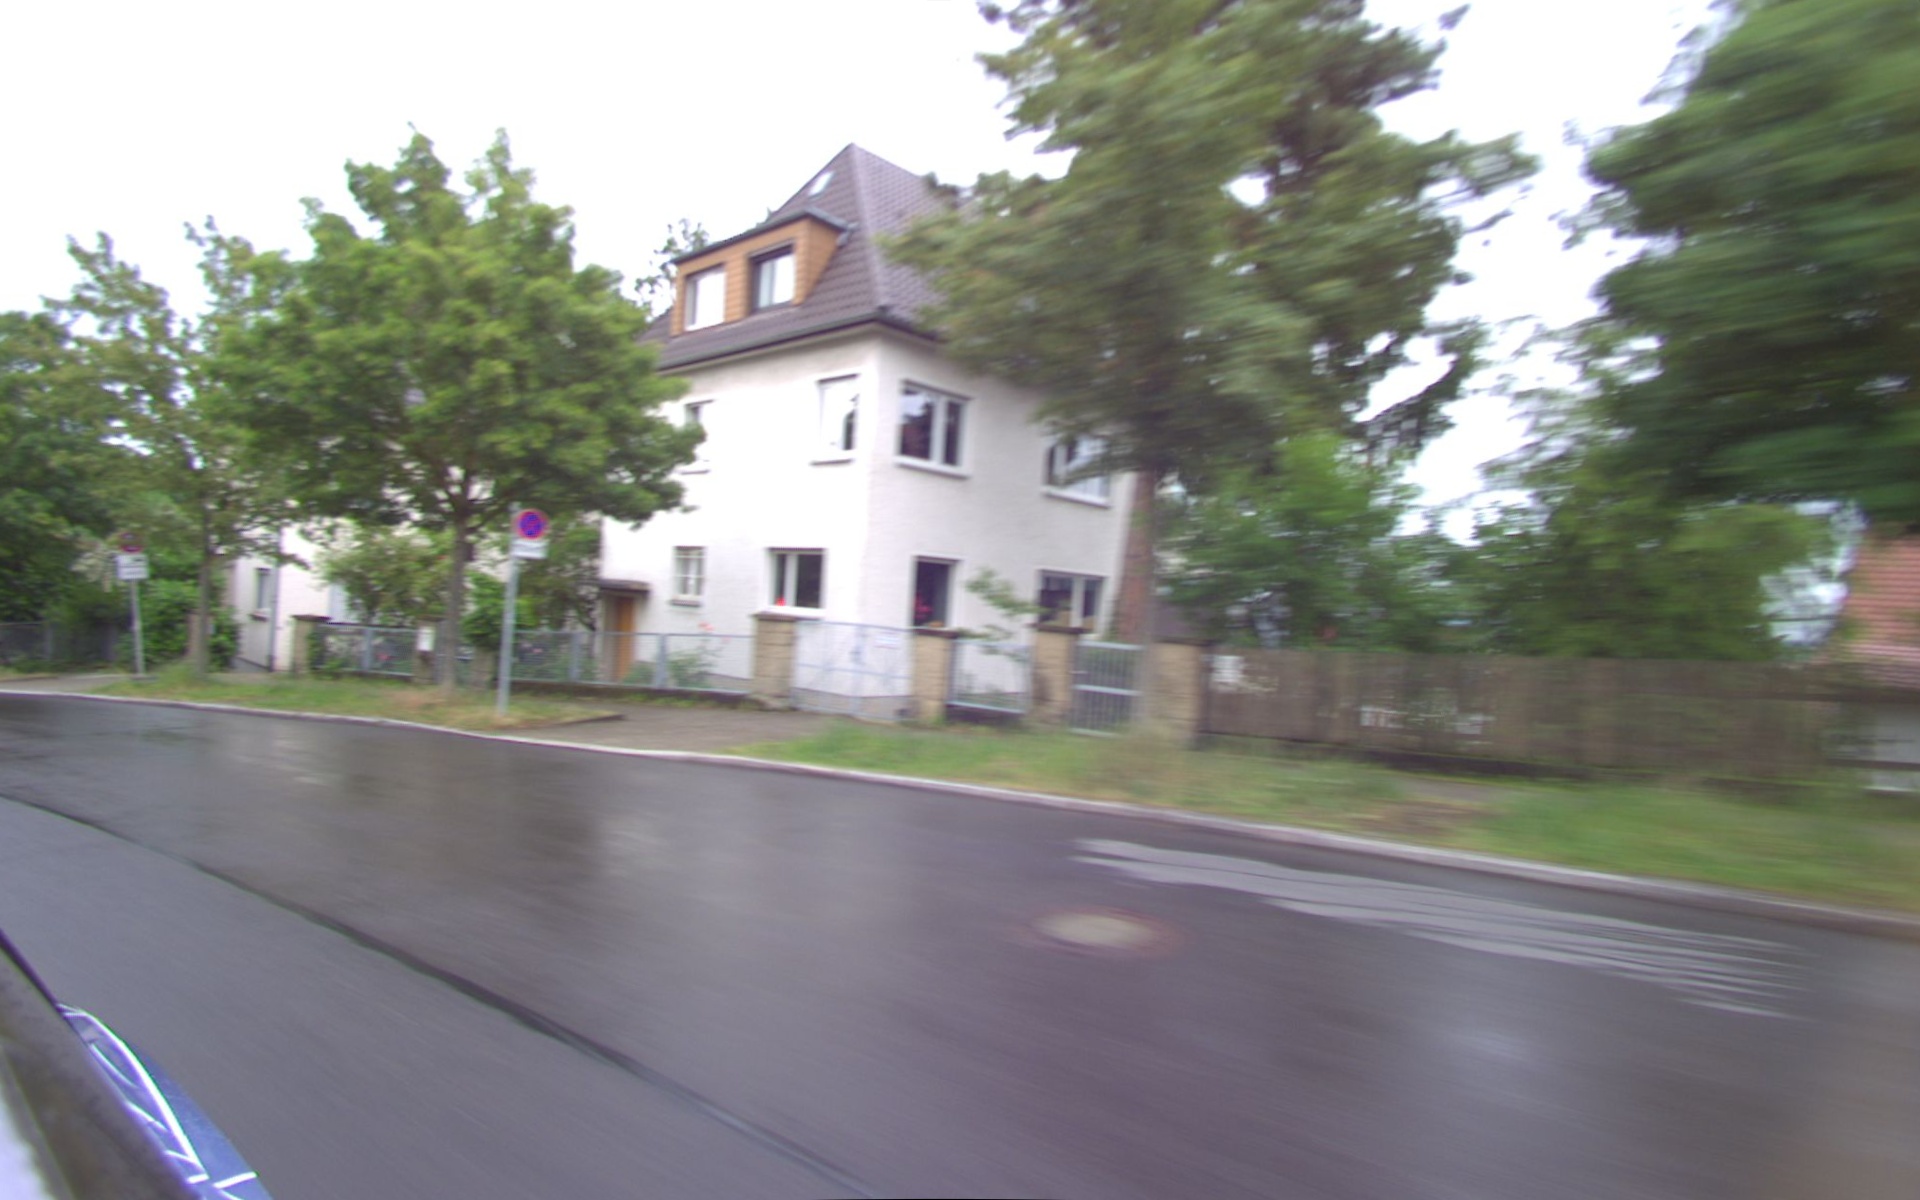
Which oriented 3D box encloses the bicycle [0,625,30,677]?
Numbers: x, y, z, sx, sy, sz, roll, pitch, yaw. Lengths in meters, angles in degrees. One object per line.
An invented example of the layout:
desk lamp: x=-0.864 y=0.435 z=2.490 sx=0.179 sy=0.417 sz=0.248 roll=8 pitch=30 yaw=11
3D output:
bicycle: x=-25.016 y=1.313 z=25.921 sx=2.248 sy=1.281 sz=0.491 roll=-1 pitch=0 yaw=10

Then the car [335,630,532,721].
car: x=-13.542 y=1.984 z=26.175 sx=3.943 sy=1.595 sz=1.857 roll=17 pitch=-13 yaw=-42
